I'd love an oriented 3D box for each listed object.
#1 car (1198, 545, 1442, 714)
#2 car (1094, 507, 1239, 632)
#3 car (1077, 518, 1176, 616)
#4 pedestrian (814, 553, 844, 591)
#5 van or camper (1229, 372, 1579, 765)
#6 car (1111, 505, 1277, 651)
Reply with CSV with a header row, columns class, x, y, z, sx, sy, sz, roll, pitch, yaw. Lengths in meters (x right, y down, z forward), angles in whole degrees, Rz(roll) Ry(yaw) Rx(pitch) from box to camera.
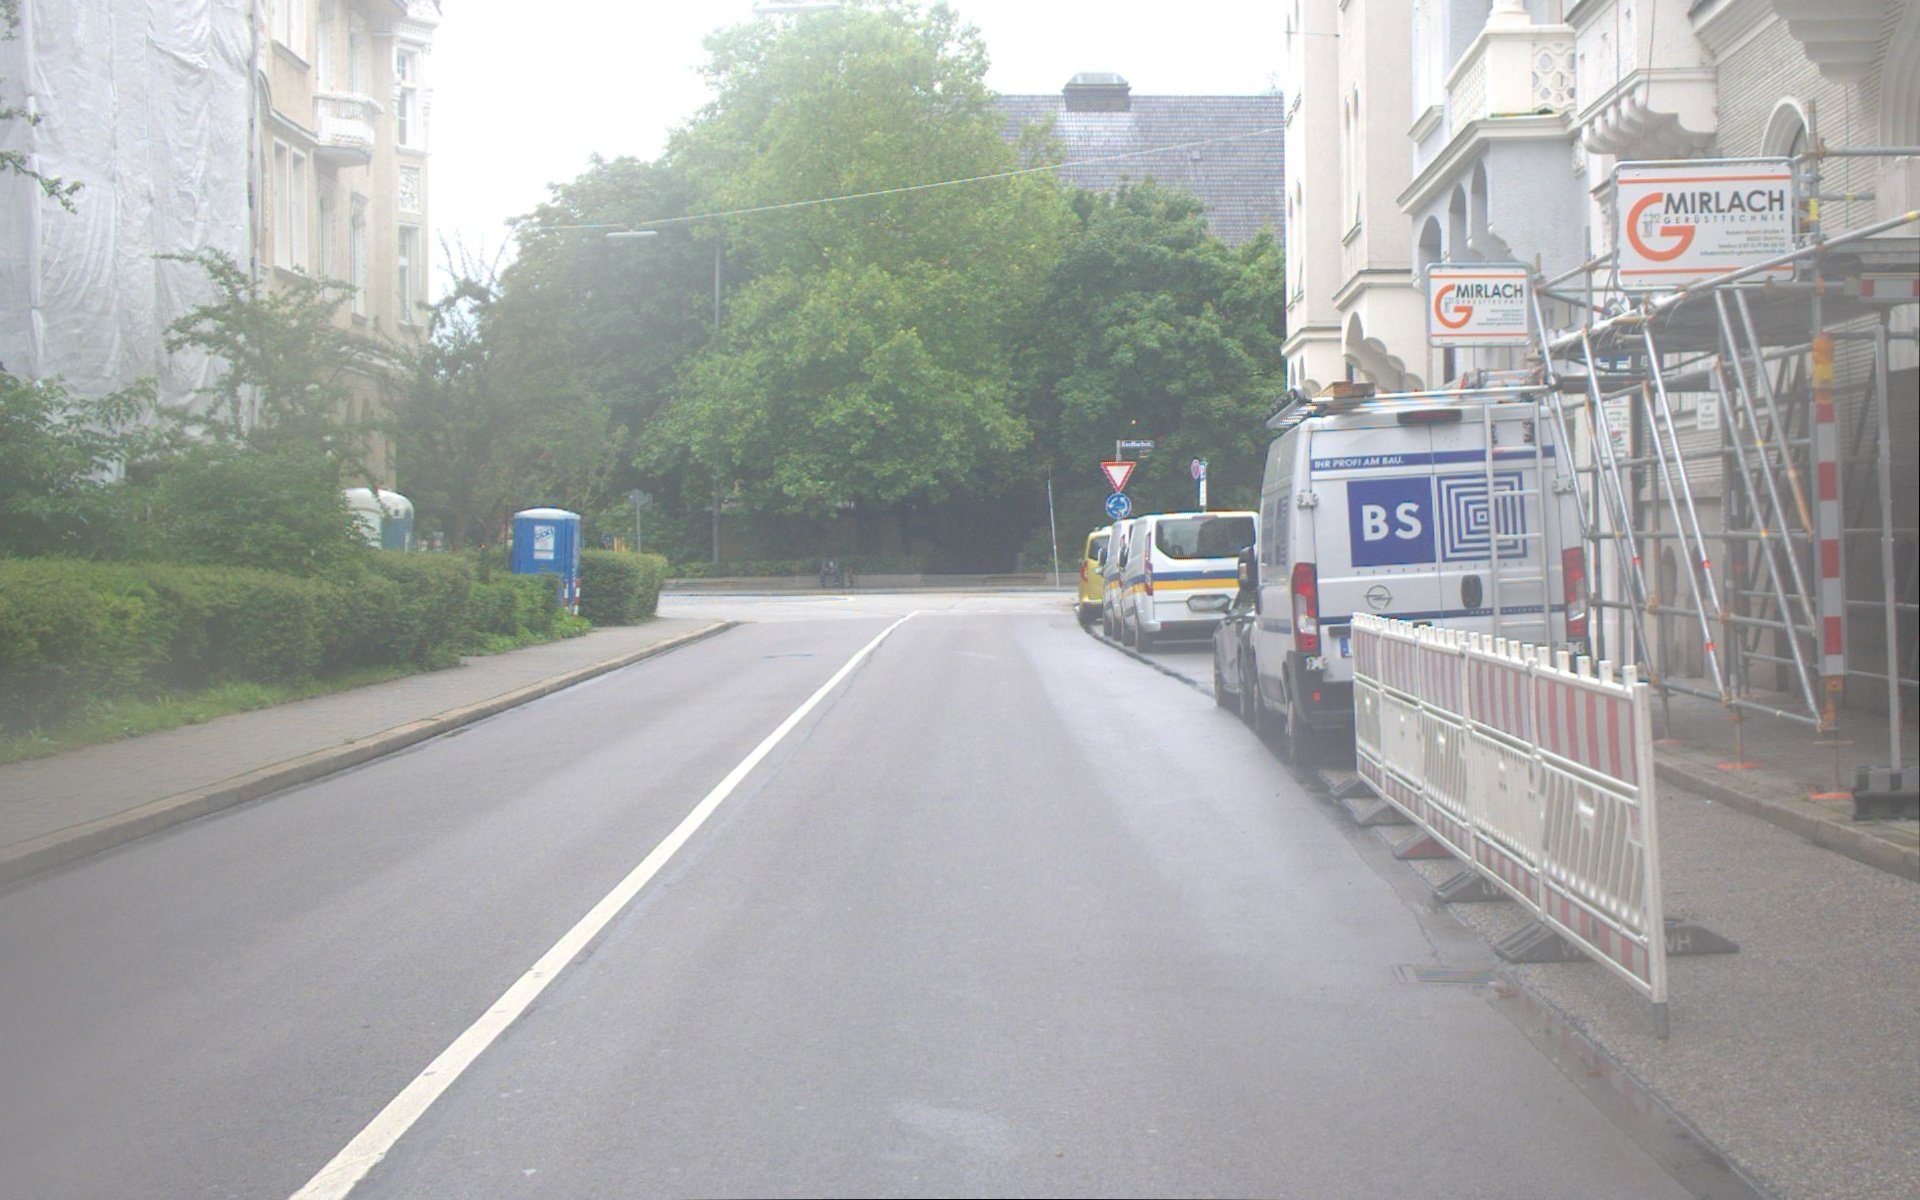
class,x,y,z,sx,sy,sz,roll,pitch,yaw
car,3.267,0.219,31.883,1.753,1.429,4.087,-1,1,-1
car,3.357,-0.530,56.747,1.959,1.930,4.993,-1,1,-1
car,3.316,-0.688,68.014,1.850,1.846,4.820,-1,1,3
pedestrian,-4.154,-0.905,109.208,0.812,1.185,0.919,-1,1,7
van or camper,3.215,-0.252,25.963,1.953,2.628,5.459,-1,1,1
car,3.382,-0.353,50.577,1.959,2.007,4.993,-1,1,-1
